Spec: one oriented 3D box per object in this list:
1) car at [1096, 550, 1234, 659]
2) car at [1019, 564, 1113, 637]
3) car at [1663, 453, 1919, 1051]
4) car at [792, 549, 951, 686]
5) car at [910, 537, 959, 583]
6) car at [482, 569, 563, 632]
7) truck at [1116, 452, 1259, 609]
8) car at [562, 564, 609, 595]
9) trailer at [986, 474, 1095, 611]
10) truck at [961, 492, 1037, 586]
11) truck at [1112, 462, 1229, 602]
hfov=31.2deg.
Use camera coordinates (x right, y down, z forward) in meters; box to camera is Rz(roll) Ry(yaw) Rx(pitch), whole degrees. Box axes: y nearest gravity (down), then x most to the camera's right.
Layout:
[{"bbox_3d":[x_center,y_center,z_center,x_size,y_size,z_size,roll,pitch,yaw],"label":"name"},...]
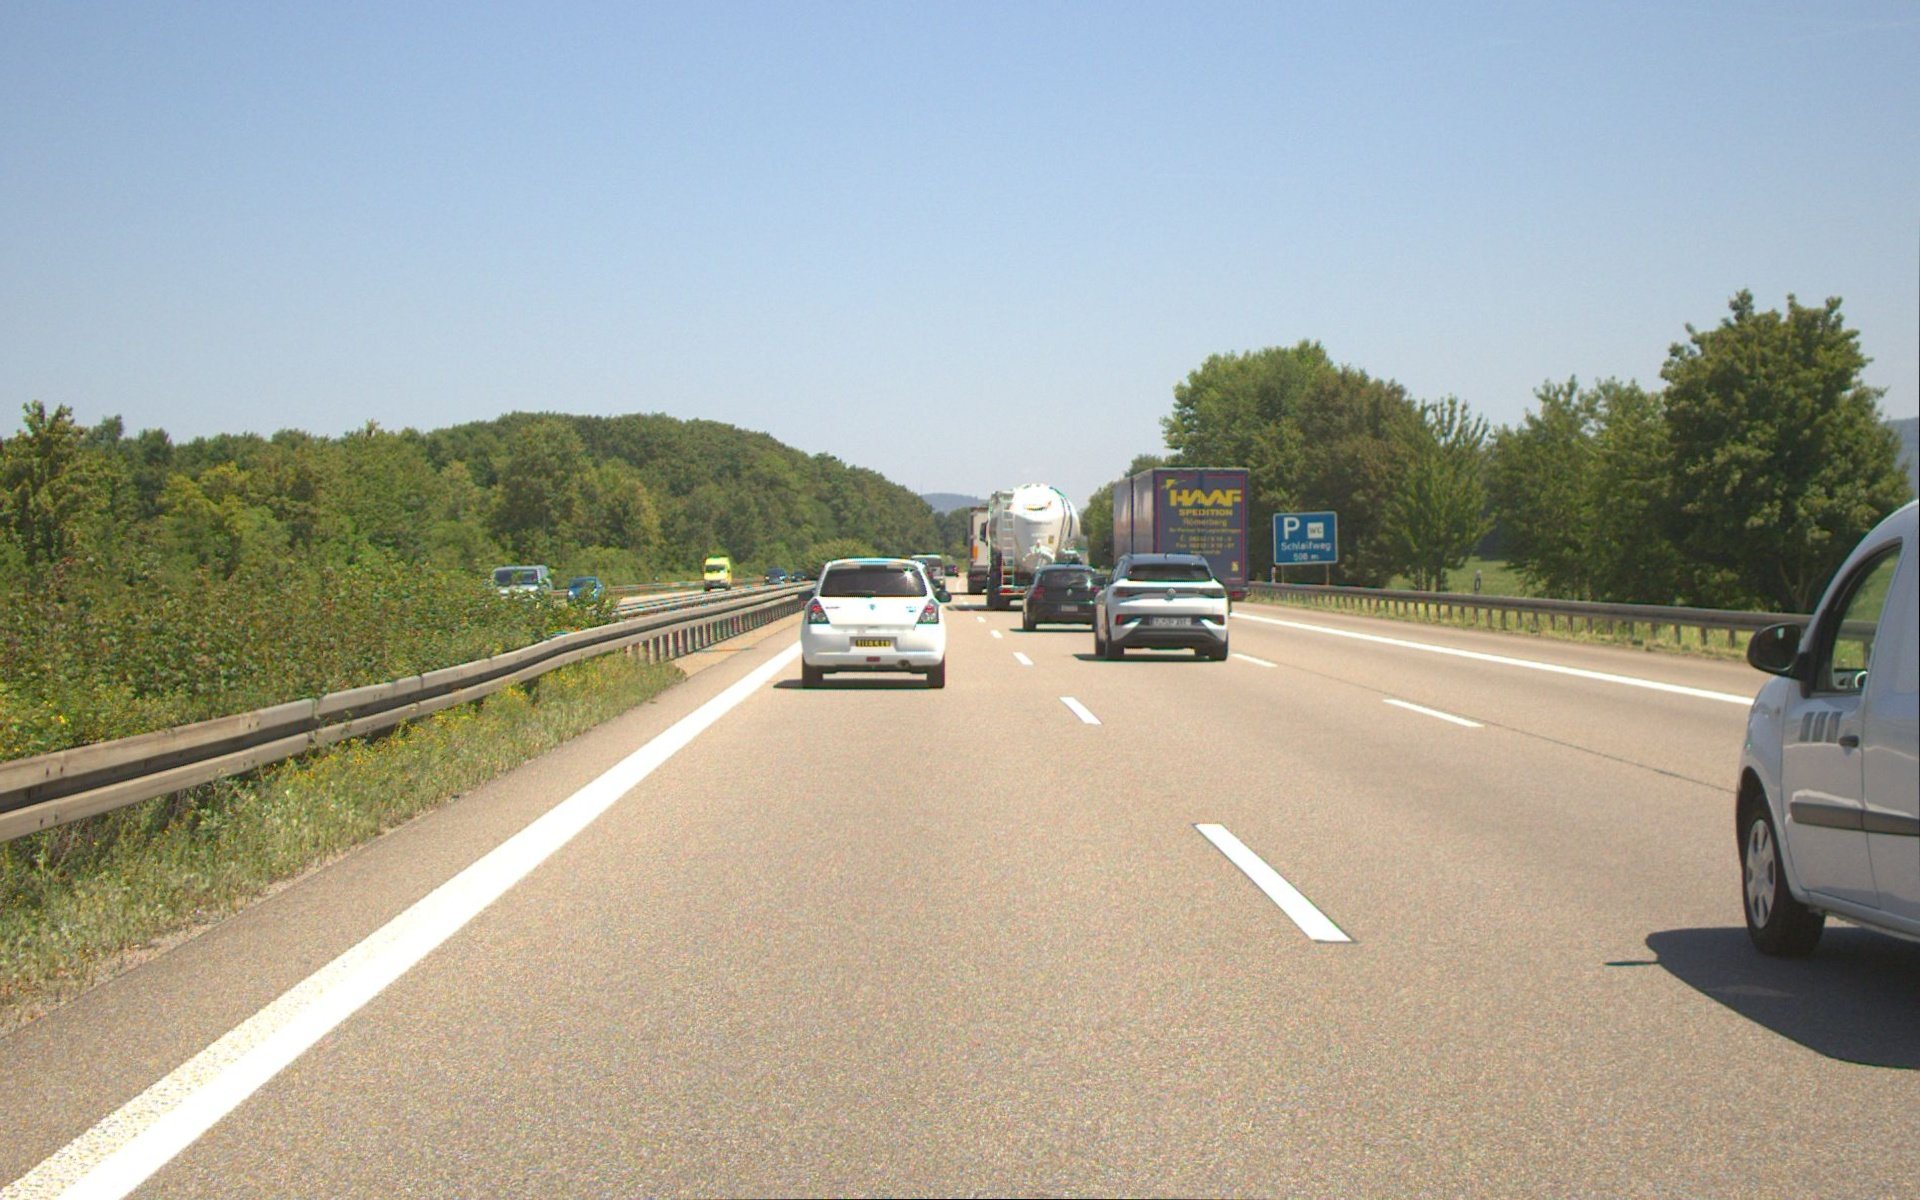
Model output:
[{"bbox_3d":[3.104,0.037,52.856,1.802,1.597,4.381,1,1,-1],"label":"car"},{"bbox_3d":[2.253,-0.012,74.052,1.850,1.518,3.957,1,1,-1],"label":"car"},{"bbox_3d":[3.898,0.462,12.014,1.853,1.856,4.702,1,1,-1],"label":"car"},{"bbox_3d":[-1.052,0.179,41.120,1.799,1.546,3.610,1,1,-1],"label":"car"},{"bbox_3d":[-1.302,-2.098,179.267,2.475,2.346,5.181,1,1,0],"label":"car"},{"bbox_3d":[-14.451,-0.016,113.853,2.041,1.918,5.228,-3,1,-1],"label":"car"},{"bbox_3d":[6.377,-1.946,98.869,3.109,4.124,15.511,1,1,0],"label":"truck"},{"bbox_3d":[-18.379,-1.019,168.912,1.564,1.419,3.471,-3,0,5],"label":"car"},{"bbox_3d":[2.453,-1.814,108.710,2.911,4.055,12.419,1,1,-1],"label":"trailer"},{"bbox_3d":[1.777,-2.841,161.845,3.394,4.199,12.083,1,1,0],"label":"truck"},{"bbox_3d":[6.408,-2.078,105.905,3.109,4.124,8.056,1,1,0],"label":"truck"}]
